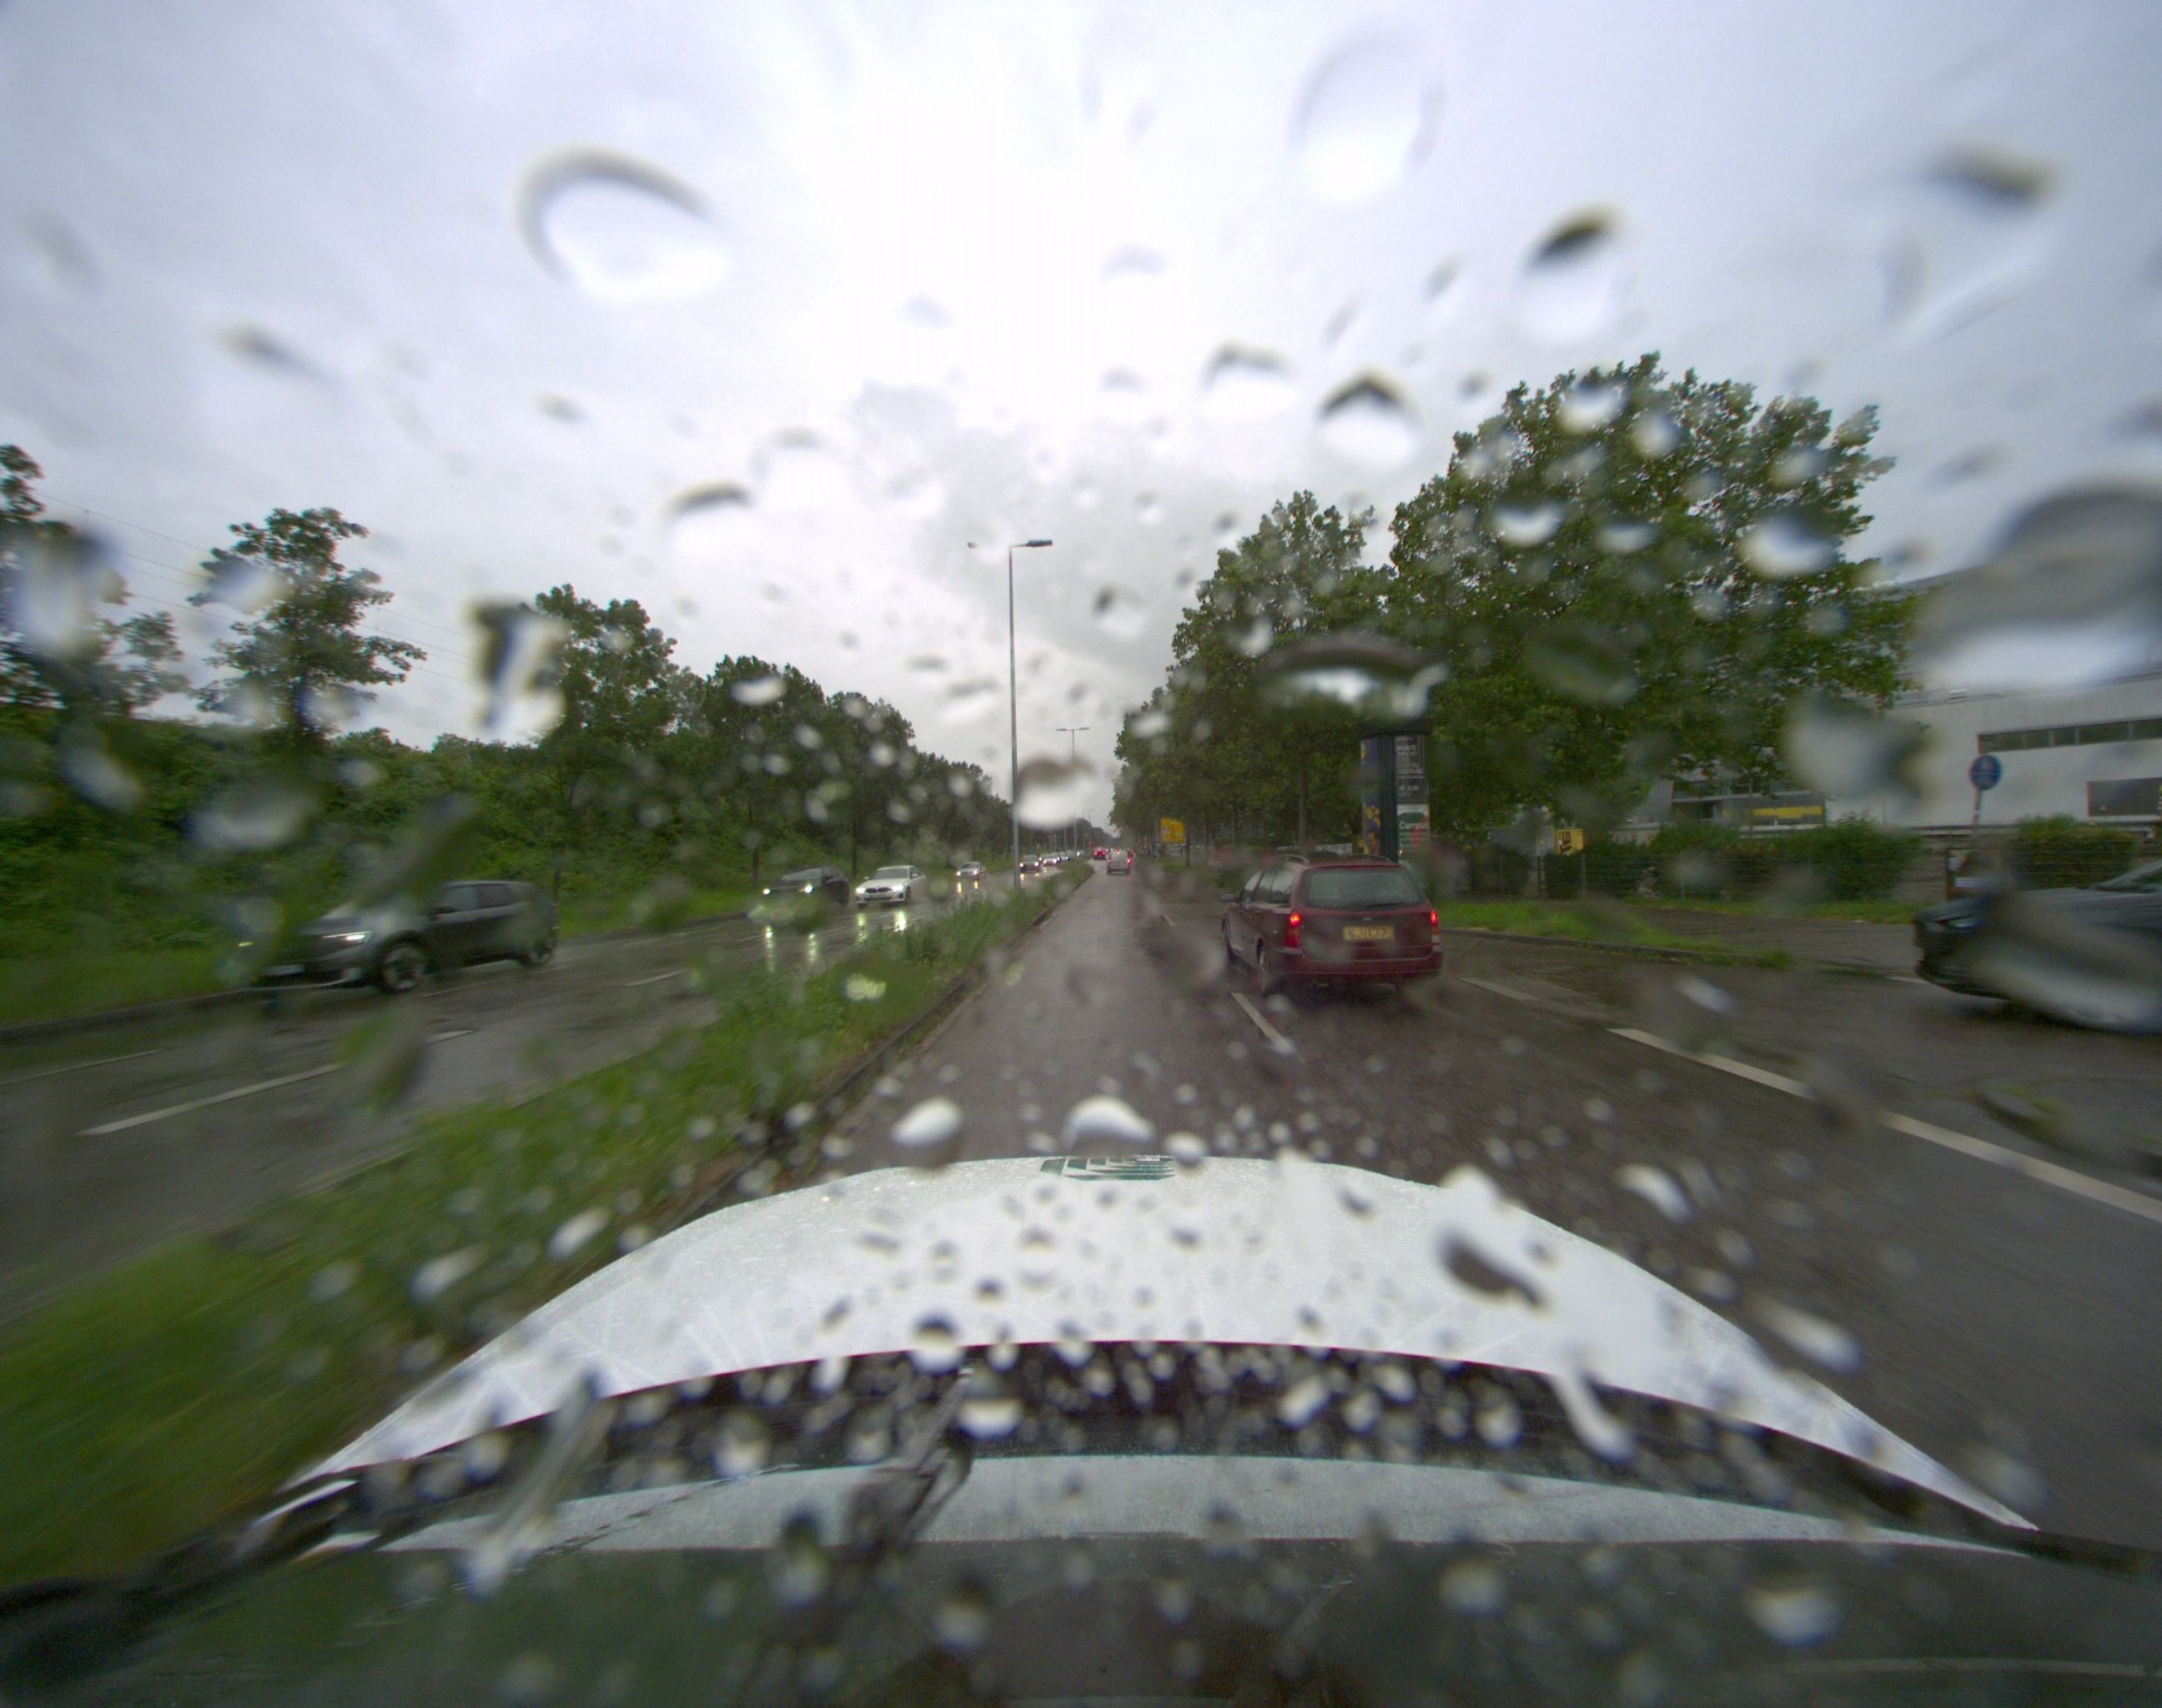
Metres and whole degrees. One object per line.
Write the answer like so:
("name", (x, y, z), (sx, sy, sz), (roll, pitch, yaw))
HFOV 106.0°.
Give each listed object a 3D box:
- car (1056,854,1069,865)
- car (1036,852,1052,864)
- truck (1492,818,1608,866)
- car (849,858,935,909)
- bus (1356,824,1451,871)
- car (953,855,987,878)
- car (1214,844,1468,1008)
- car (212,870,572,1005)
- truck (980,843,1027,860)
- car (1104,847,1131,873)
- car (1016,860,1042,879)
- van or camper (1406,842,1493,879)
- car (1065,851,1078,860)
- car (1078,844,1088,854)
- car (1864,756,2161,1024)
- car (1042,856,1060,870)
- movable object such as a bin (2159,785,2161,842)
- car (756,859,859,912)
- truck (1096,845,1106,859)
("car", (-2.861, 0.844, 124.021), (1.904, 1.574, 4.704), (-4, 0, -2))
("car", (-5.671, 0.554, 126.133), (1.985, 1.687, 4.712), (-3, 0, 3))
("truck", (32.602, -0.749, 56.385), (9.538, 3.032, 3.049), (0, -1, -34))
("car", (-7.002, 1.038, 30.641), (1.891, 1.613, 4.713), (-4, 0, 2))
("bus", (18.932, -0.365, 47.969), (4.772, 2.647, 2.002), (-1, 0, 3))
("car", (-8.599, 0.963, 63.656), (1.892, 1.613, 4.479), (-2, 0, 1))
("car", (2.785, 0.675, 9.742), (1.832, 1.536, 4.113), (0, 0, 1))
("car", (-10.557, 1.161, 13.045), (1.892, 1.613, 4.406), (-2, 0, 1))
("truck", (-16.919, -0.517, 178.487), (10.183, 3.452, 2.630), (0, -1, -35))
("car", (2.872, 0.491, 64.911), (1.986, 2.014, 4.000), (-1, -1, 1))
("car", (-5.038, 1.451, 79.394), (1.890, 1.613, 4.115), (-4, 0, 3))
("van or camper", (20.166, 0.337, 44.673), (3.977, 1.907, 1.801), (-1, 0, -3))
("car", (-1.690, 0.263, 149.832), (1.901, 1.574, 4.712), (-4, 0, 3))
("car", (0.376, -1.173, 181.513), (1.817, 1.573, 4.366), (6, 6, 2))
("car", (9.549, 0.224, 6.410), (4.694, 2.056, 1.945), (-2, 0, 40))
("car", (-3.783, 1.091, 102.074), (1.891, 1.613, 4.113), (-2, 0, 1))
("movable object such as a bin", (46.918, -1.742, 33.655), (3.284, 2.355, 1.999), (-2, 0, -21))
("car", (-9.858, 1.085, 29.799), (2.030, 1.660, 4.680), (-2, 0, 1))
("truck", (3.664, -0.340, 151.841), (1.750, 2.466, 4.001), (-1, 0, 1))
